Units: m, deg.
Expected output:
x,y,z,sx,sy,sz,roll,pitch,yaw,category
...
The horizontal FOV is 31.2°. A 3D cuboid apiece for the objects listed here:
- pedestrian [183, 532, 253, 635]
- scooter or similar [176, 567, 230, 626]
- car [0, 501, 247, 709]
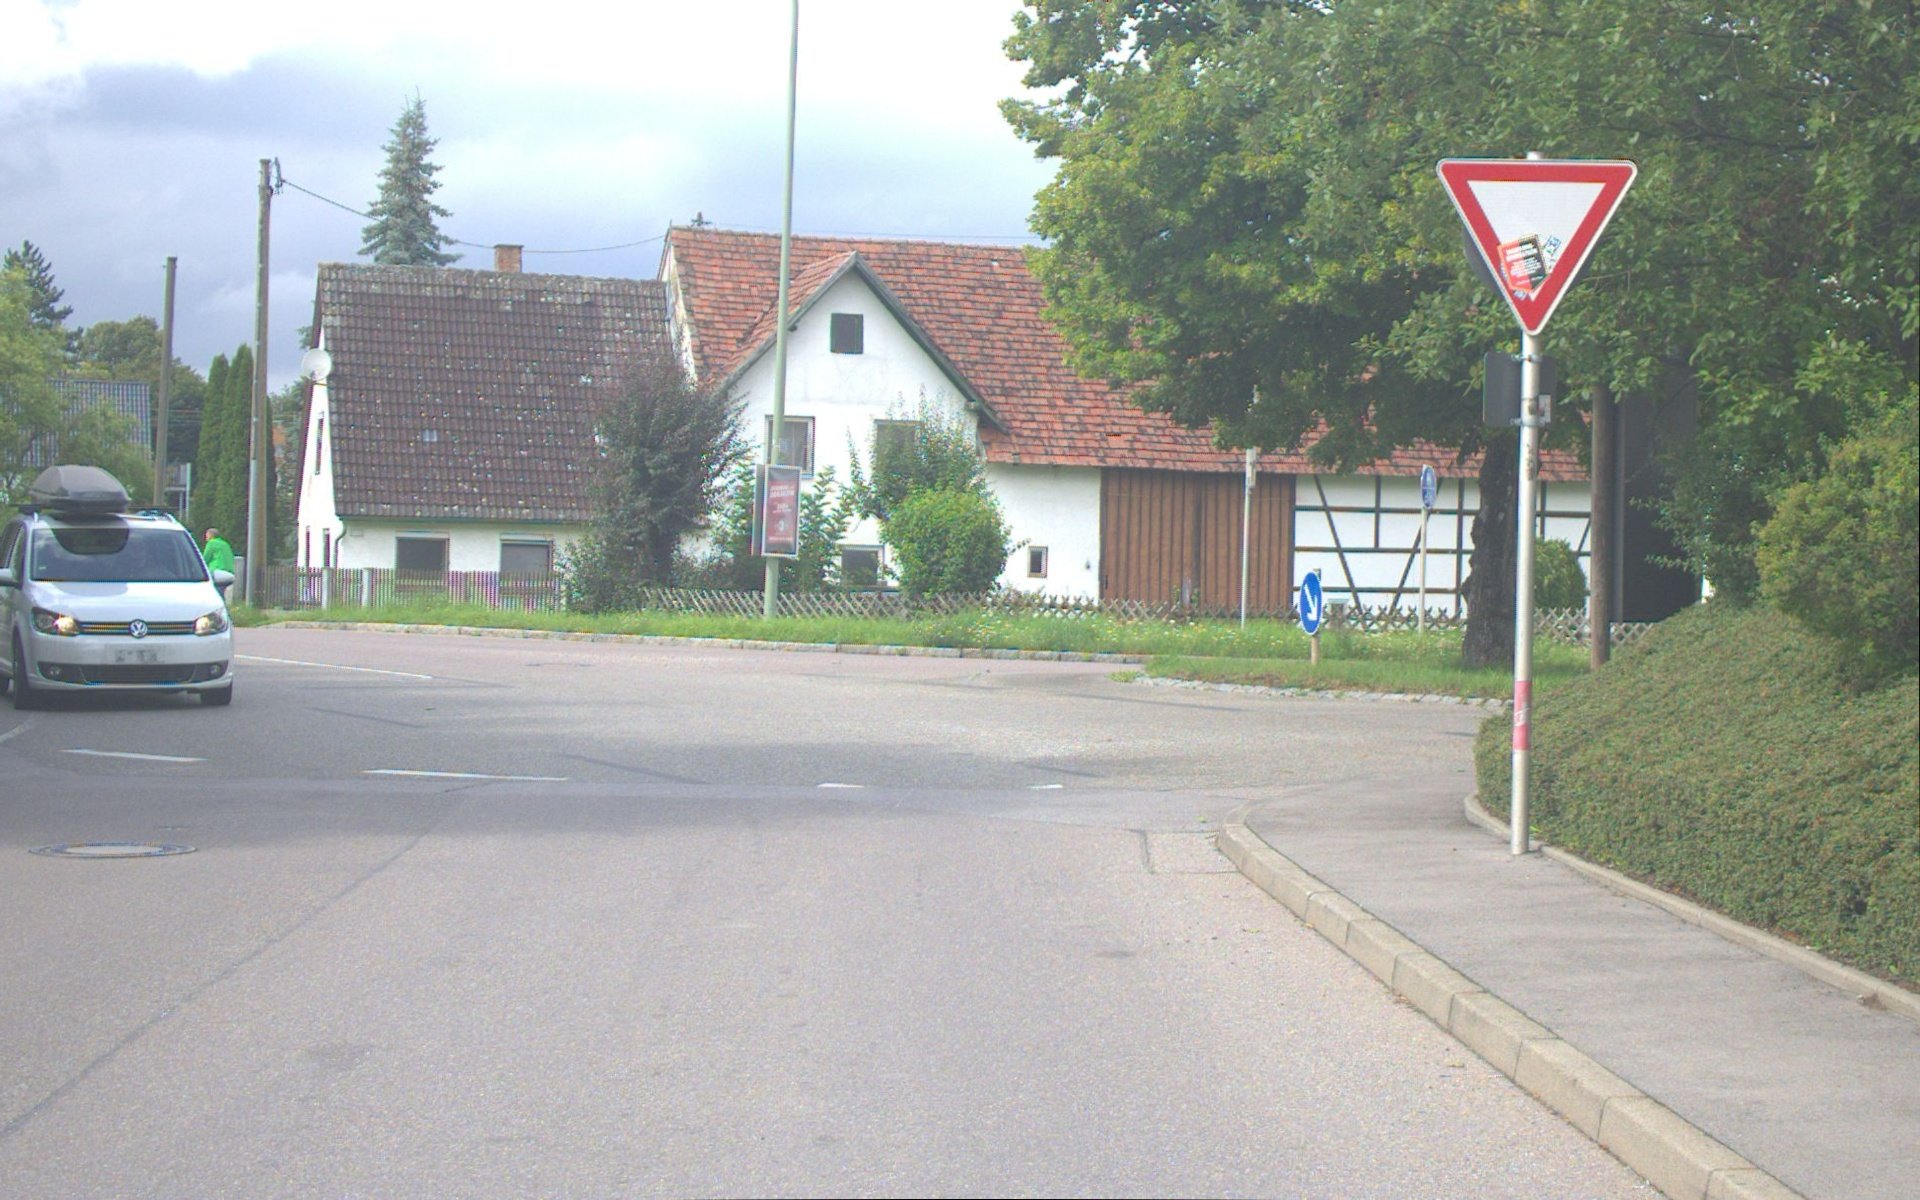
x,y,z,sx,sy,sz,roll,pitch,yaw,category
-12.477,-0.280,57.803,0.788,1.659,0.712,6,-2,-34,pedestrian
-12.884,-0.061,58.499,0.630,0.945,0.622,6,-2,-34,scooter or similar
-7.353,0.007,29.624,1.698,1.659,4.033,0,1,-22,car
